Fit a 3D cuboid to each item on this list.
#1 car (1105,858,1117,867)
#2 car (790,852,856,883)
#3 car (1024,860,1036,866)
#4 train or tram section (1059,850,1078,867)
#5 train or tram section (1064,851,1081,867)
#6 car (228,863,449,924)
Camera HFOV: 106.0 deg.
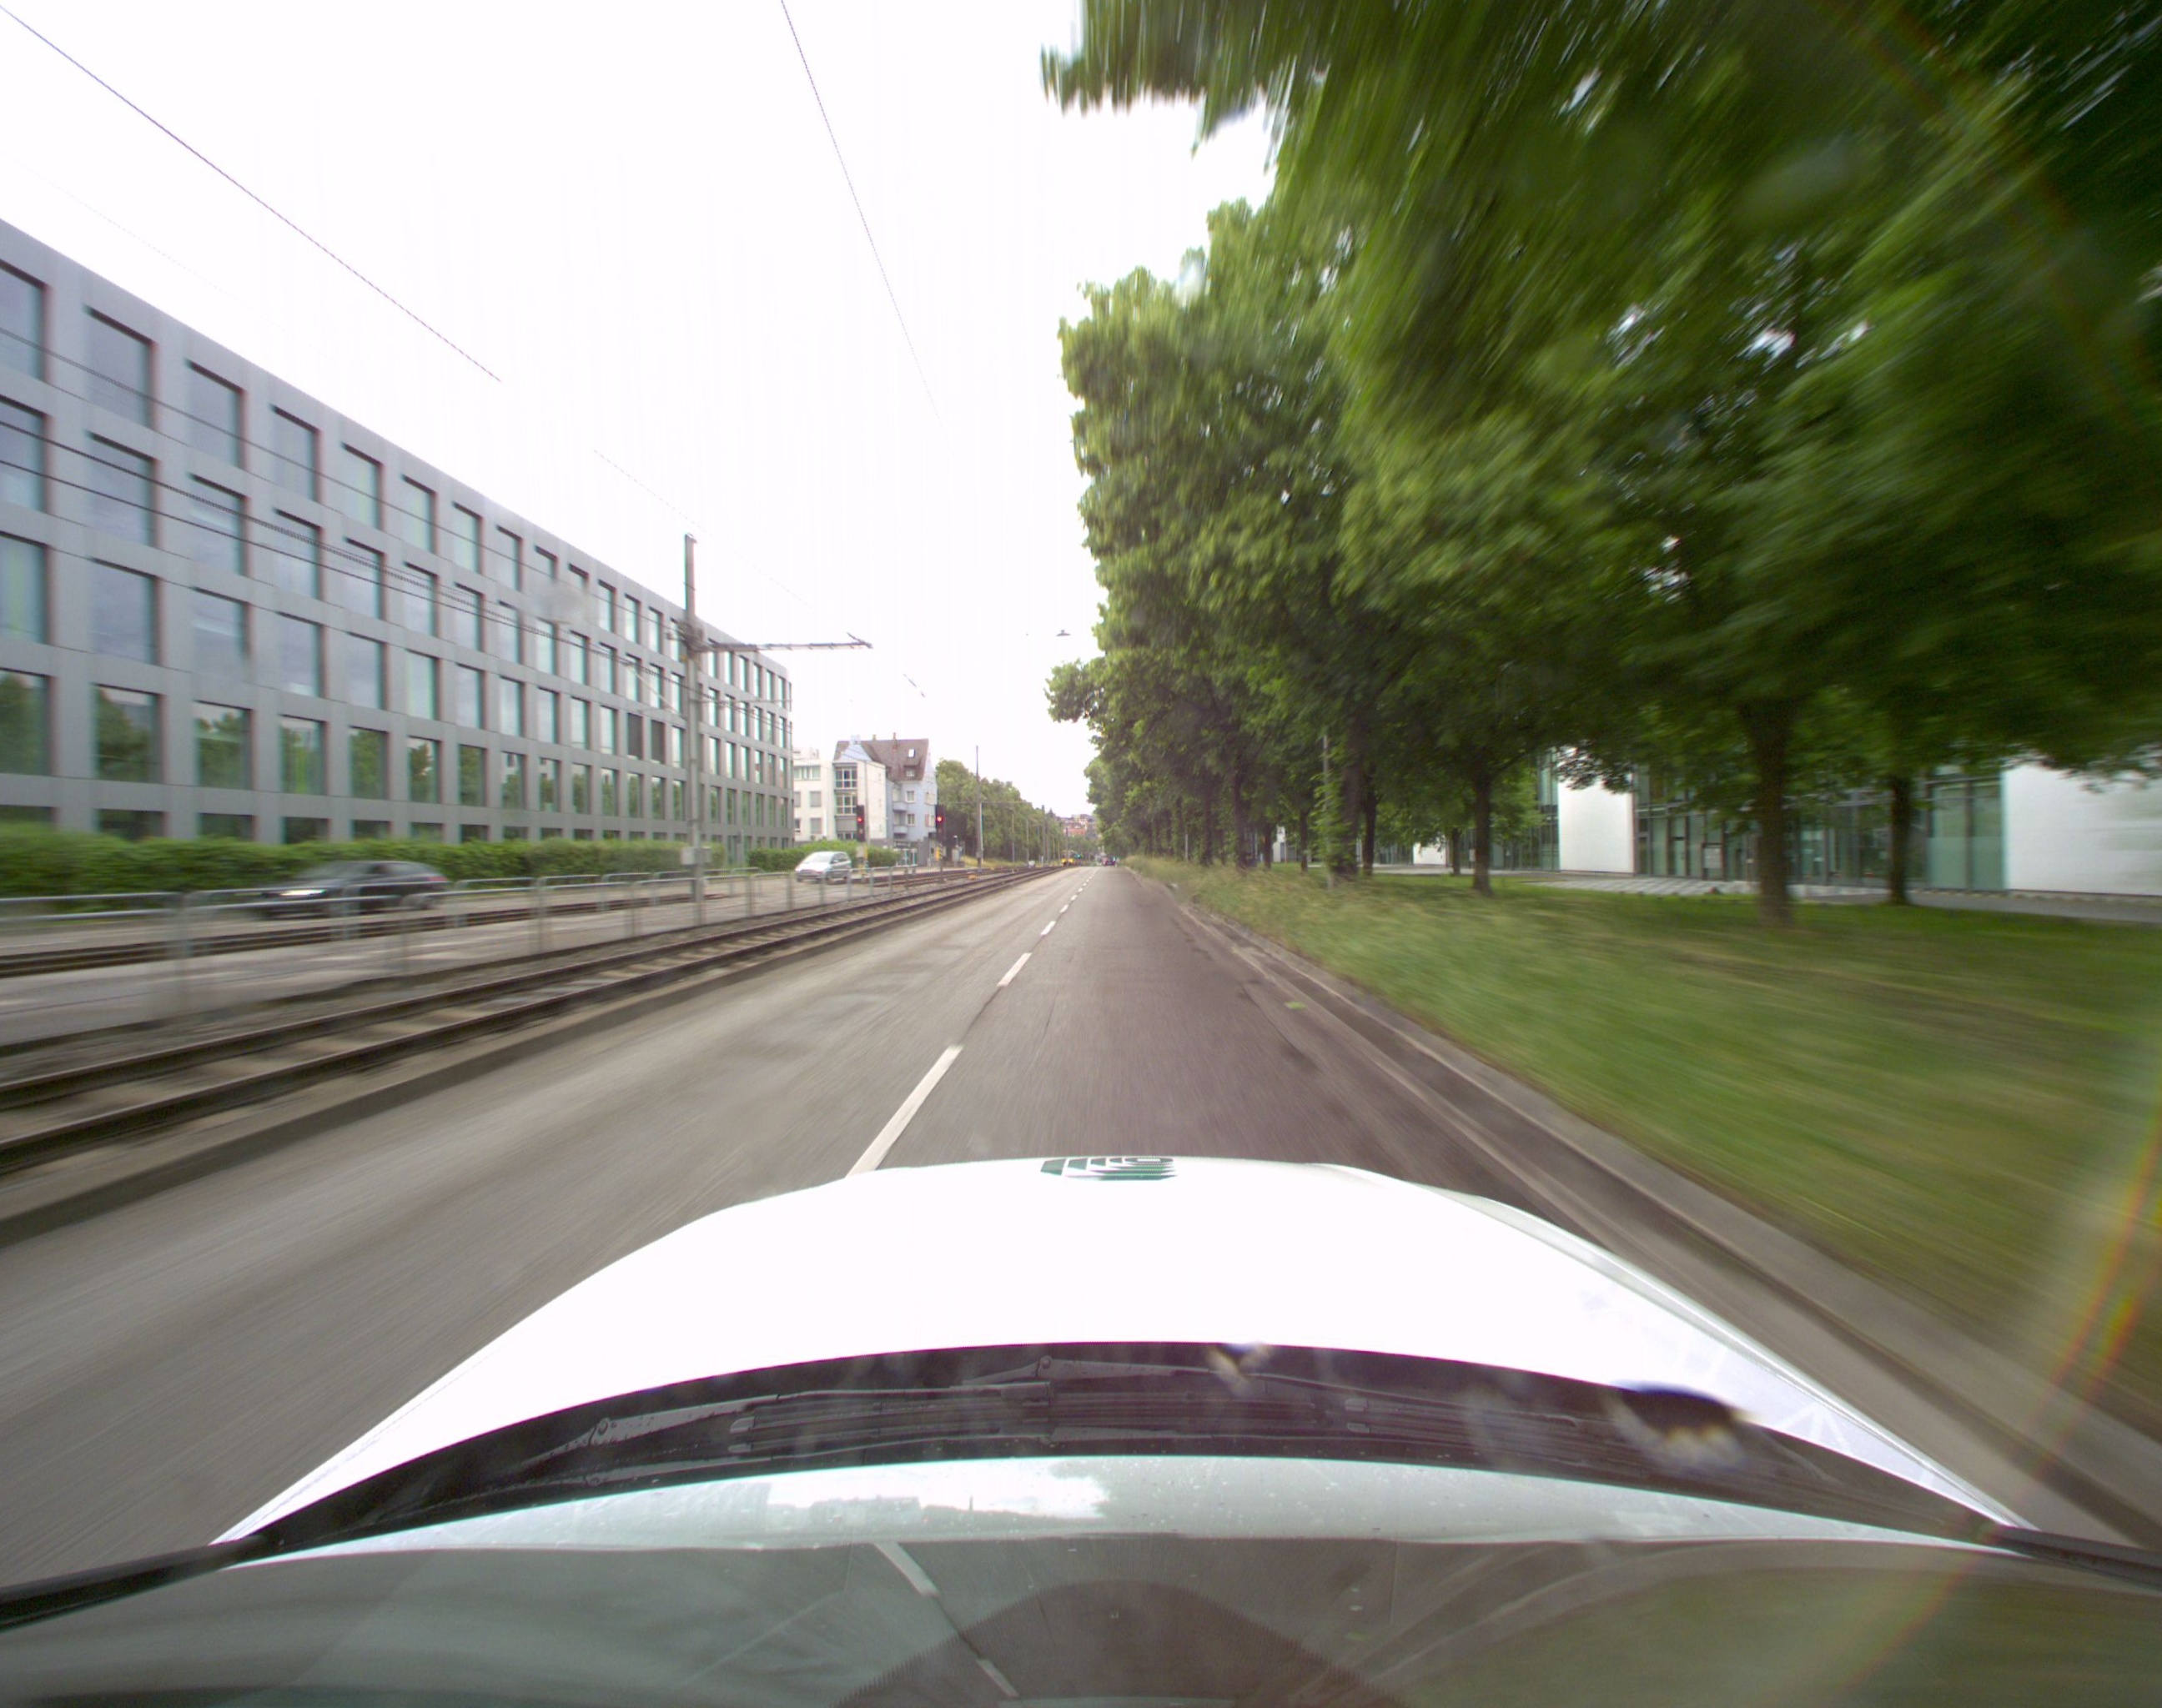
[{"bbox_3d":[4.978,1.433,134.994,1.974,1.440,4.476,-1,0,2],"label":"car"},{"bbox_3d":[-14.591,0.701,46.343,1.894,1.645,4.888,-1,0,3],"label":"car"},{"bbox_3d":[-10.459,1.855,166.513,1.894,1.325,4.830,-1,-1,3],"label":"car"},{"bbox_3d":[-2.843,1.118,189.432,3.200,3.796,14.801,-1,-1,3],"label":"train or tram section"},{"bbox_3d":[-1.956,1.319,204.231,3.200,3.796,14.801,-1,-1,3],"label":"train or tram section"},{"bbox_3d":[-19.293,0.963,21.478,1.791,1.347,4.261,-1,0,2],"label":"car"}]
